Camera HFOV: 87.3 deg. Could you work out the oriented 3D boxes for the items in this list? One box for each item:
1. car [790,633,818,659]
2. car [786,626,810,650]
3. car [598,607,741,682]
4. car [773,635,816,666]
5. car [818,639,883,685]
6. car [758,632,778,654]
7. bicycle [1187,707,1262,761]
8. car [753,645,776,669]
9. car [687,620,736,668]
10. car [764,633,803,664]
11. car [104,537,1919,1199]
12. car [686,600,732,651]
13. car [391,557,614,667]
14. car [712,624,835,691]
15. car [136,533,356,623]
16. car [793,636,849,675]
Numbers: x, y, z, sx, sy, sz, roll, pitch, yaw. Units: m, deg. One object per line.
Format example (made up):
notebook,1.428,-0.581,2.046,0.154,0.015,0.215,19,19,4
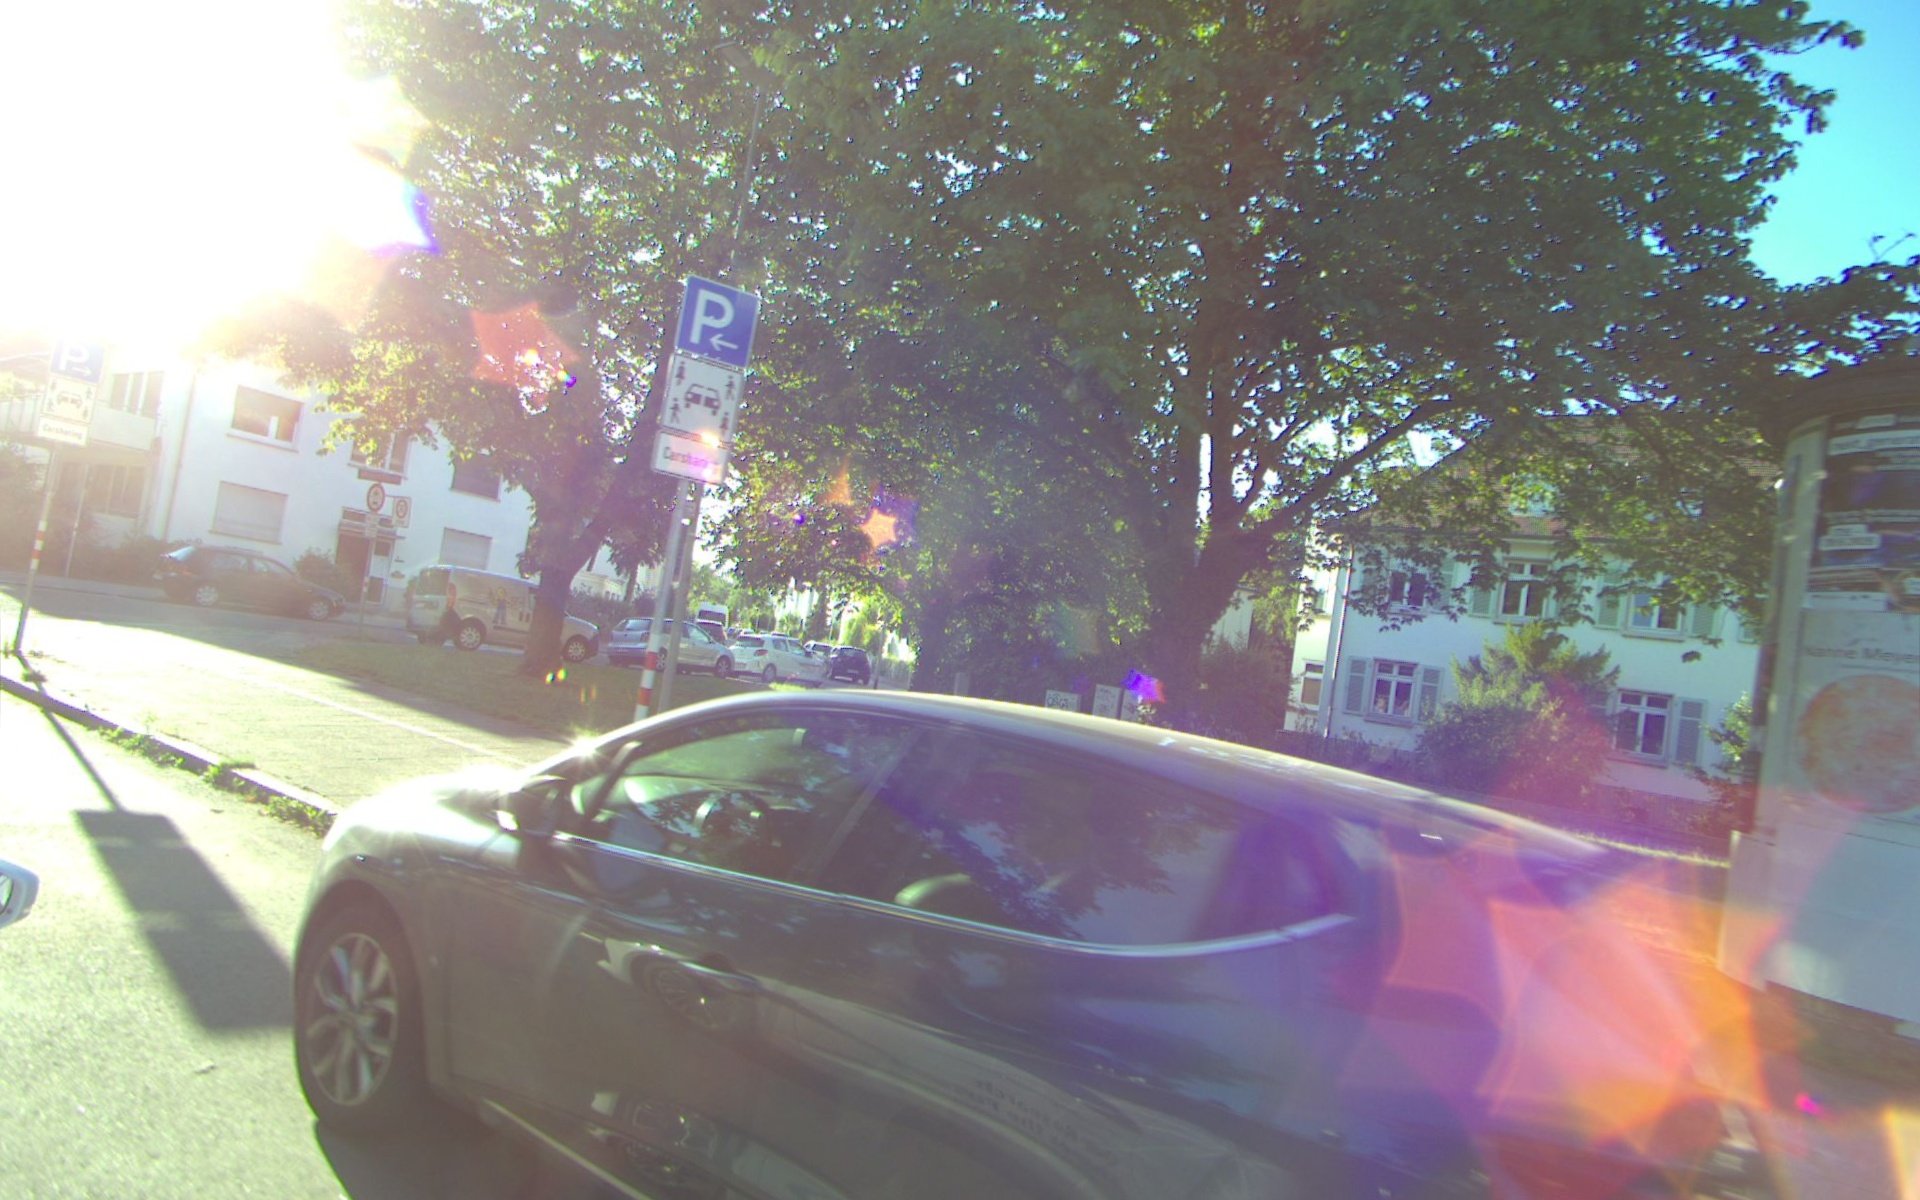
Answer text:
car,-14.628,4.331,94.181,1.970,2.032,3.998,11,-6,-13
car,-16.925,4.004,104.780,1.969,2.032,4.000,10,-6,-11
car,-7.879,1.261,27.601,1.578,1.531,3.568,6,-5,28
car,-11.265,3.465,68.415,1.974,1.737,3.820,11,-6,-19
car,-4.762,2.623,43.237,1.971,1.568,3.991,10,-4,-15
car,-17.318,3.915,90.684,1.545,1.605,3.362,10,-6,-11
bicycle,7.622,3.856,29.065,1.923,1.248,0.451,4,-9,33
car,-16.592,4.874,85.499,1.614,1.686,3.632,10,-6,-11
car,-12.823,2.332,52.119,1.968,2.032,4.001,10,-6,-10
car,-12.931,3.592,73.551,1.905,1.872,3.991,11,-7,-18
car,-0.422,0.873,2.975,4.466,1.525,1.733,6,-7,32
car,-14.488,1.535,58.307,2.081,2.358,4.518,10,-6,-12
car,-10.740,0.344,23.932,1.998,1.894,4.253,6,-5,33
car,-5.787,1.842,31.650,1.498,1.538,3.939,5,-7,29
car,-17.656,-0.490,25.067,1.688,1.461,3.999,6,-6,33
car,-7.286,2.839,52.353,1.973,1.586,4.096,10,-4,-18
